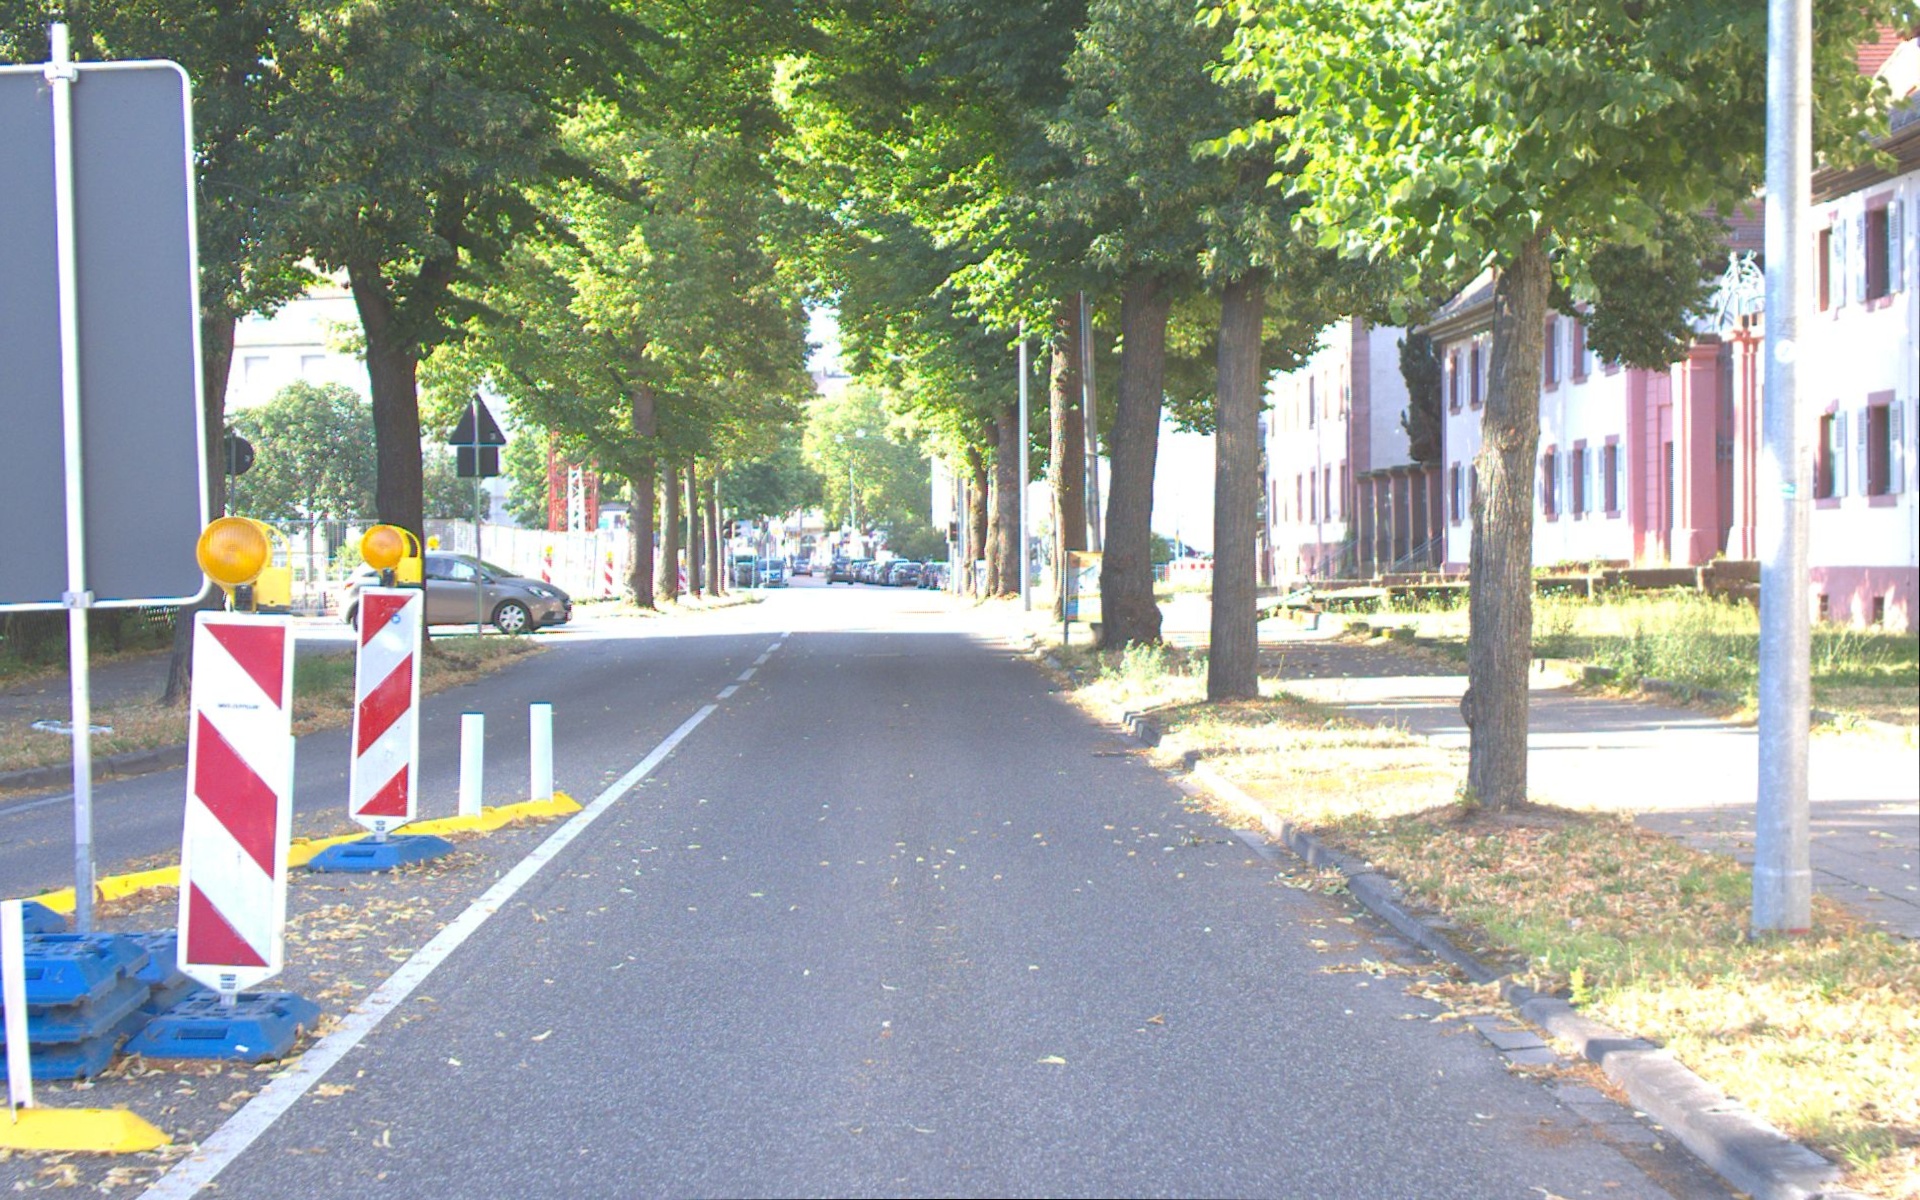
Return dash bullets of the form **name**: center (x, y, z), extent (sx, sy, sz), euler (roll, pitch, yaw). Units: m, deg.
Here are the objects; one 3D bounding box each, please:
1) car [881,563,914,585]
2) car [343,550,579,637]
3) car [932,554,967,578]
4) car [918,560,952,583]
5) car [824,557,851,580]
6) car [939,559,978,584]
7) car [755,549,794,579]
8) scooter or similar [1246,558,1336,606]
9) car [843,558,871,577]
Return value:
- **car**: center (-4.099, -1.708, 224.793), extent (1.841, 1.381, 4.001), euler (-1, 0, -4)
- **car**: center (-8.707, -0.115, 60.178), extent (3.844, 1.468, 1.651), euler (0, 1, 1)
- **car**: center (-0.578, -1.862, 188.563), extent (1.841, 1.256, 4.000), euler (0, 1, 1)
- **car**: center (-1.421, -1.591, 195.682), extent (1.841, 1.257, 4.000), euler (-1, 0, -2)
- **car**: center (-8.528, -2.200, 239.158), extent (1.714, 1.481, 4.001), euler (-2, 0, -5)
- **car**: center (-0.093, -1.477, 177.322), extent (1.841, 1.257, 4.000), euler (-1, 0, -2)
- **car**: center (-10.814, -2.086, 200.612), extent (1.993, 1.682, 4.001), euler (-1, 0, -7)
- **scooter or similar**: center (5.221, -0.286, 54.300), extent (1.225, 0.547, 1.064), euler (-9, 1, -1)
- **car**: center (-7.709, -2.407, 257.148), extent (1.841, 1.381, 4.001), euler (-1, 0, -4)
